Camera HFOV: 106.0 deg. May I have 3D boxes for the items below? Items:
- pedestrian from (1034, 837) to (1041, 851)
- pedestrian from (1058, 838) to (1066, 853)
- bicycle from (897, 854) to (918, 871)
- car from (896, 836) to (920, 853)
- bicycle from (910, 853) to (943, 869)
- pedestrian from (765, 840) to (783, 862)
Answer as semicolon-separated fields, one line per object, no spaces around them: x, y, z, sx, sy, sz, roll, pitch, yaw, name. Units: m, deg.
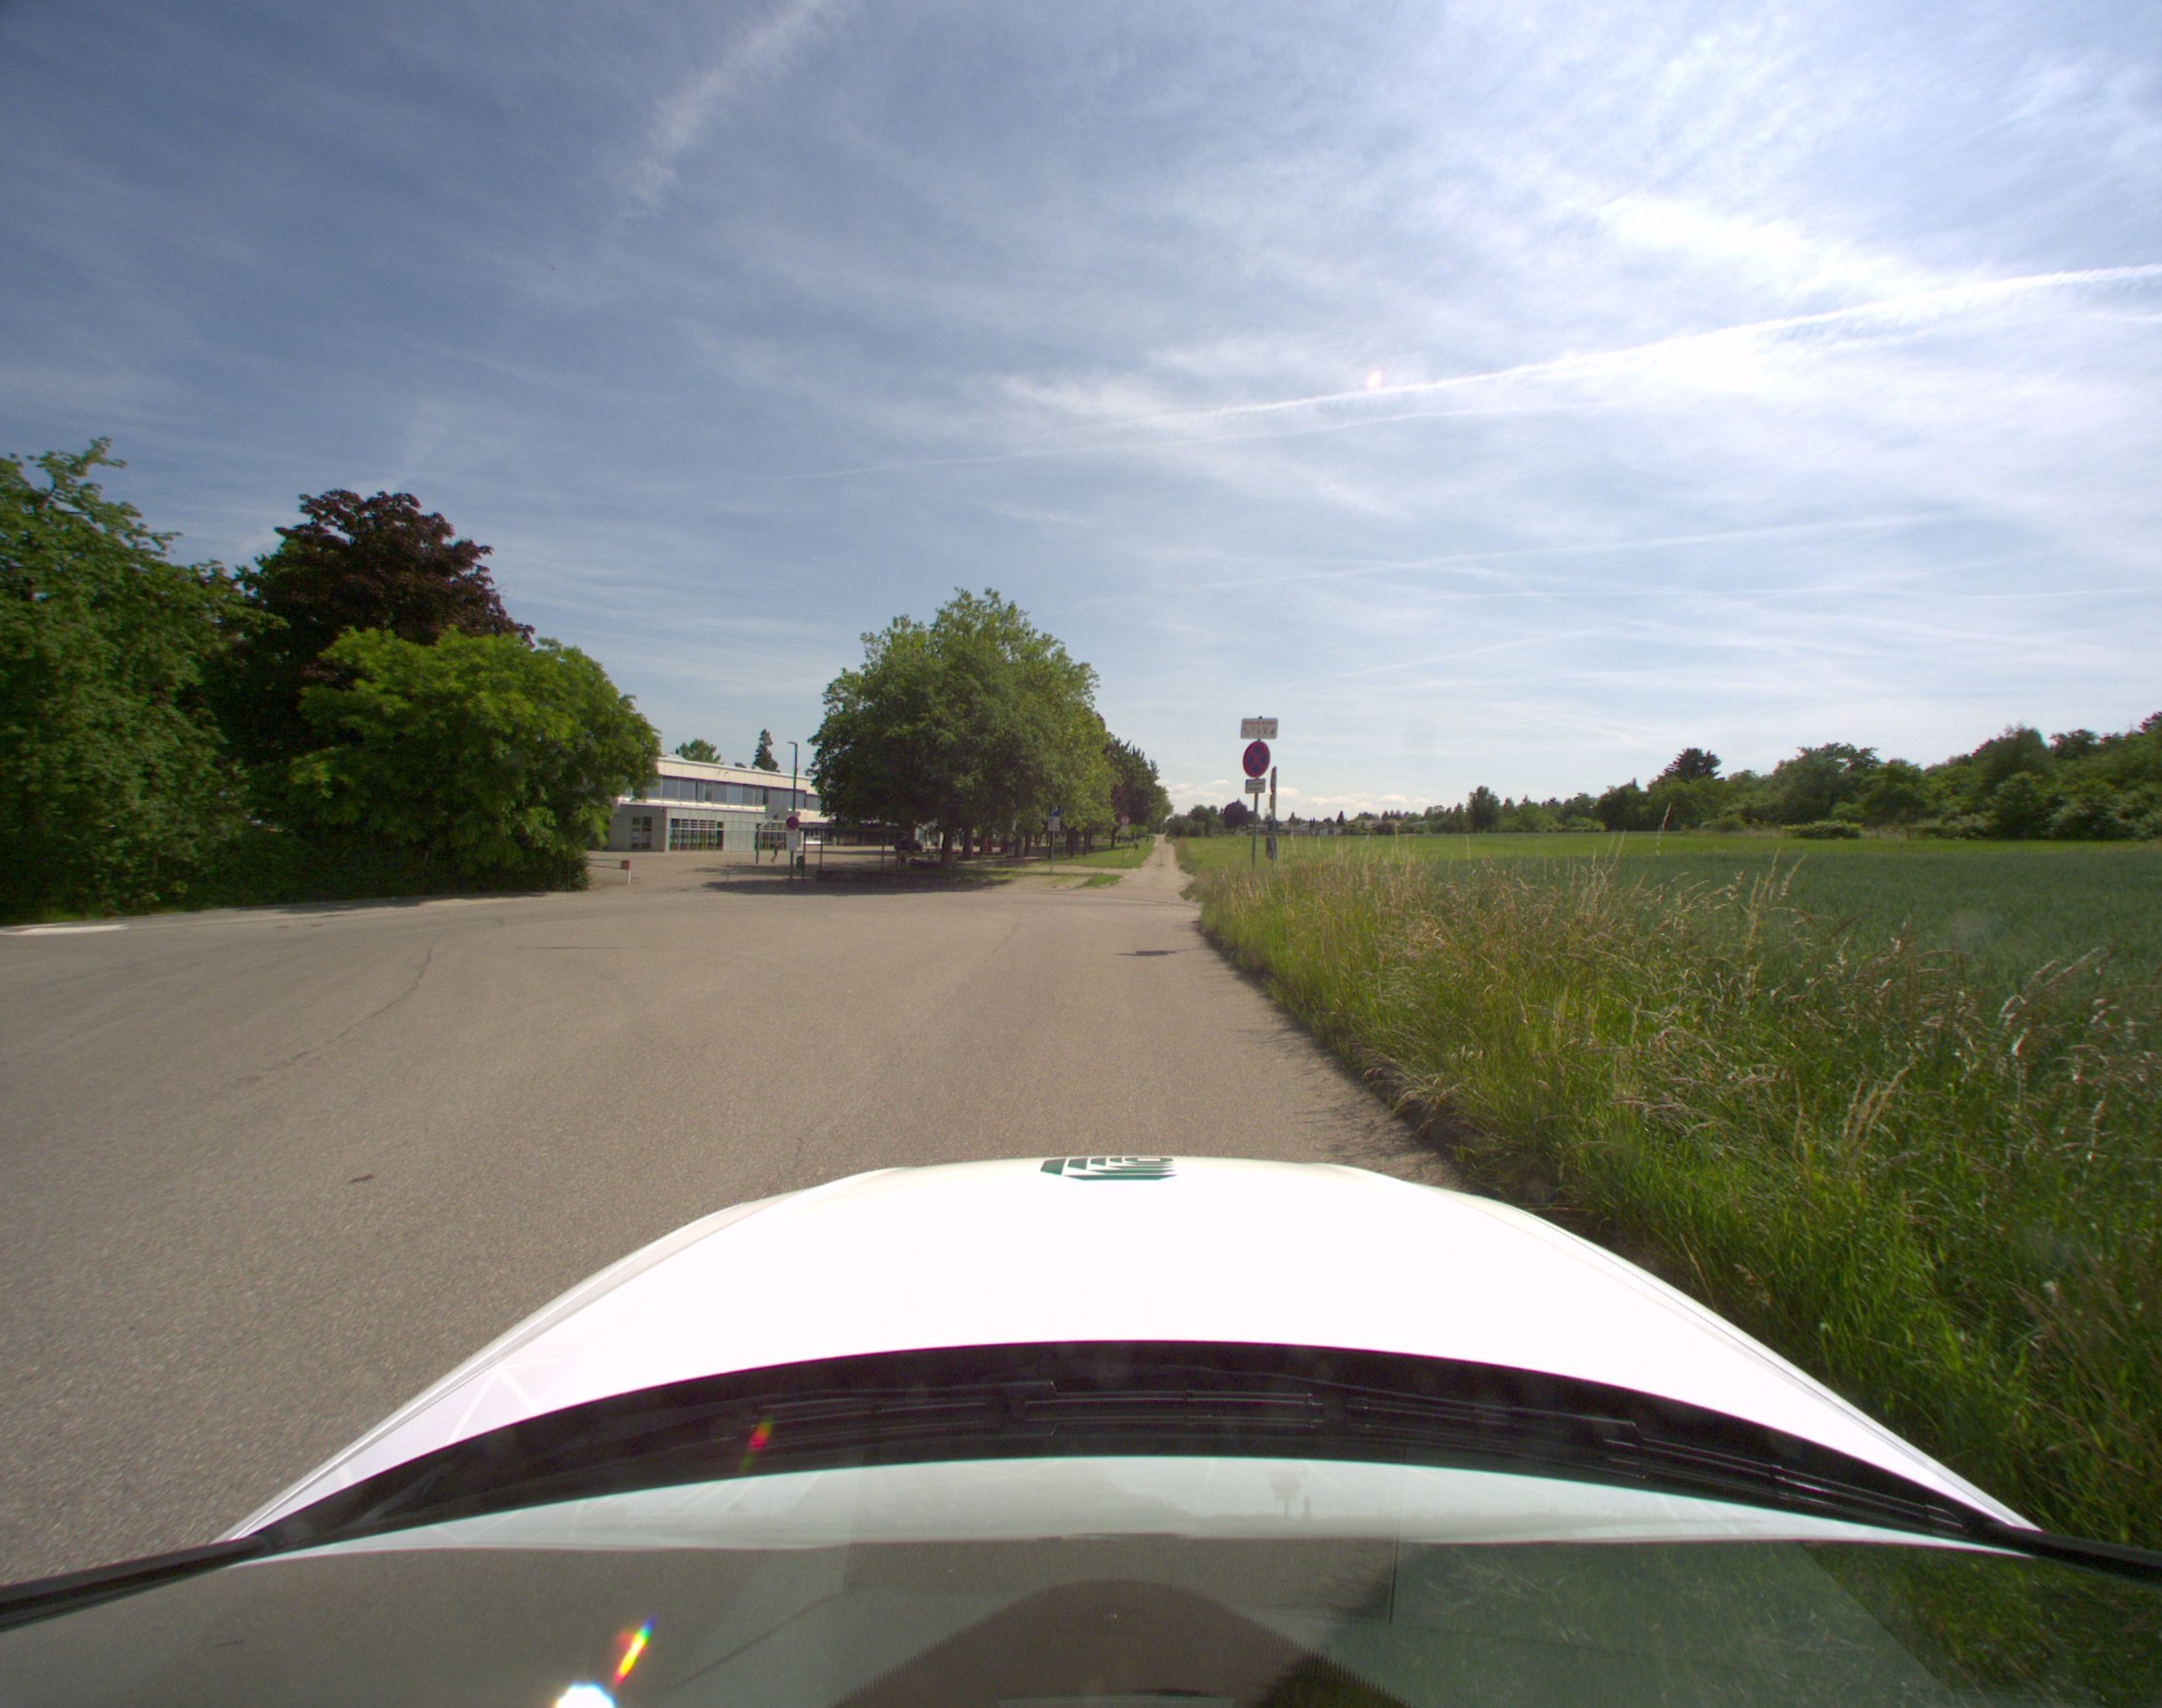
-6.367;-1.485;119.131;0.833;2.013;0.689;2;0;-11;pedestrian
-2.577;-1.110;110.318;0.686;2.013;0.796;2;0;-28;pedestrian
-11.046;0.507;51.887;0.590;1.039;1.899;1;1;12;bicycle
-19.362;-1.077;91.297;1.684;1.834;3.413;2;1;3;car
-10.218;0.454;53.883;2.058;1.039;0.571;1;0;-4;bicycle
-20.735;-0.180;54.999;1.070;1.423;0.913;2;0;-23;pedestrian
